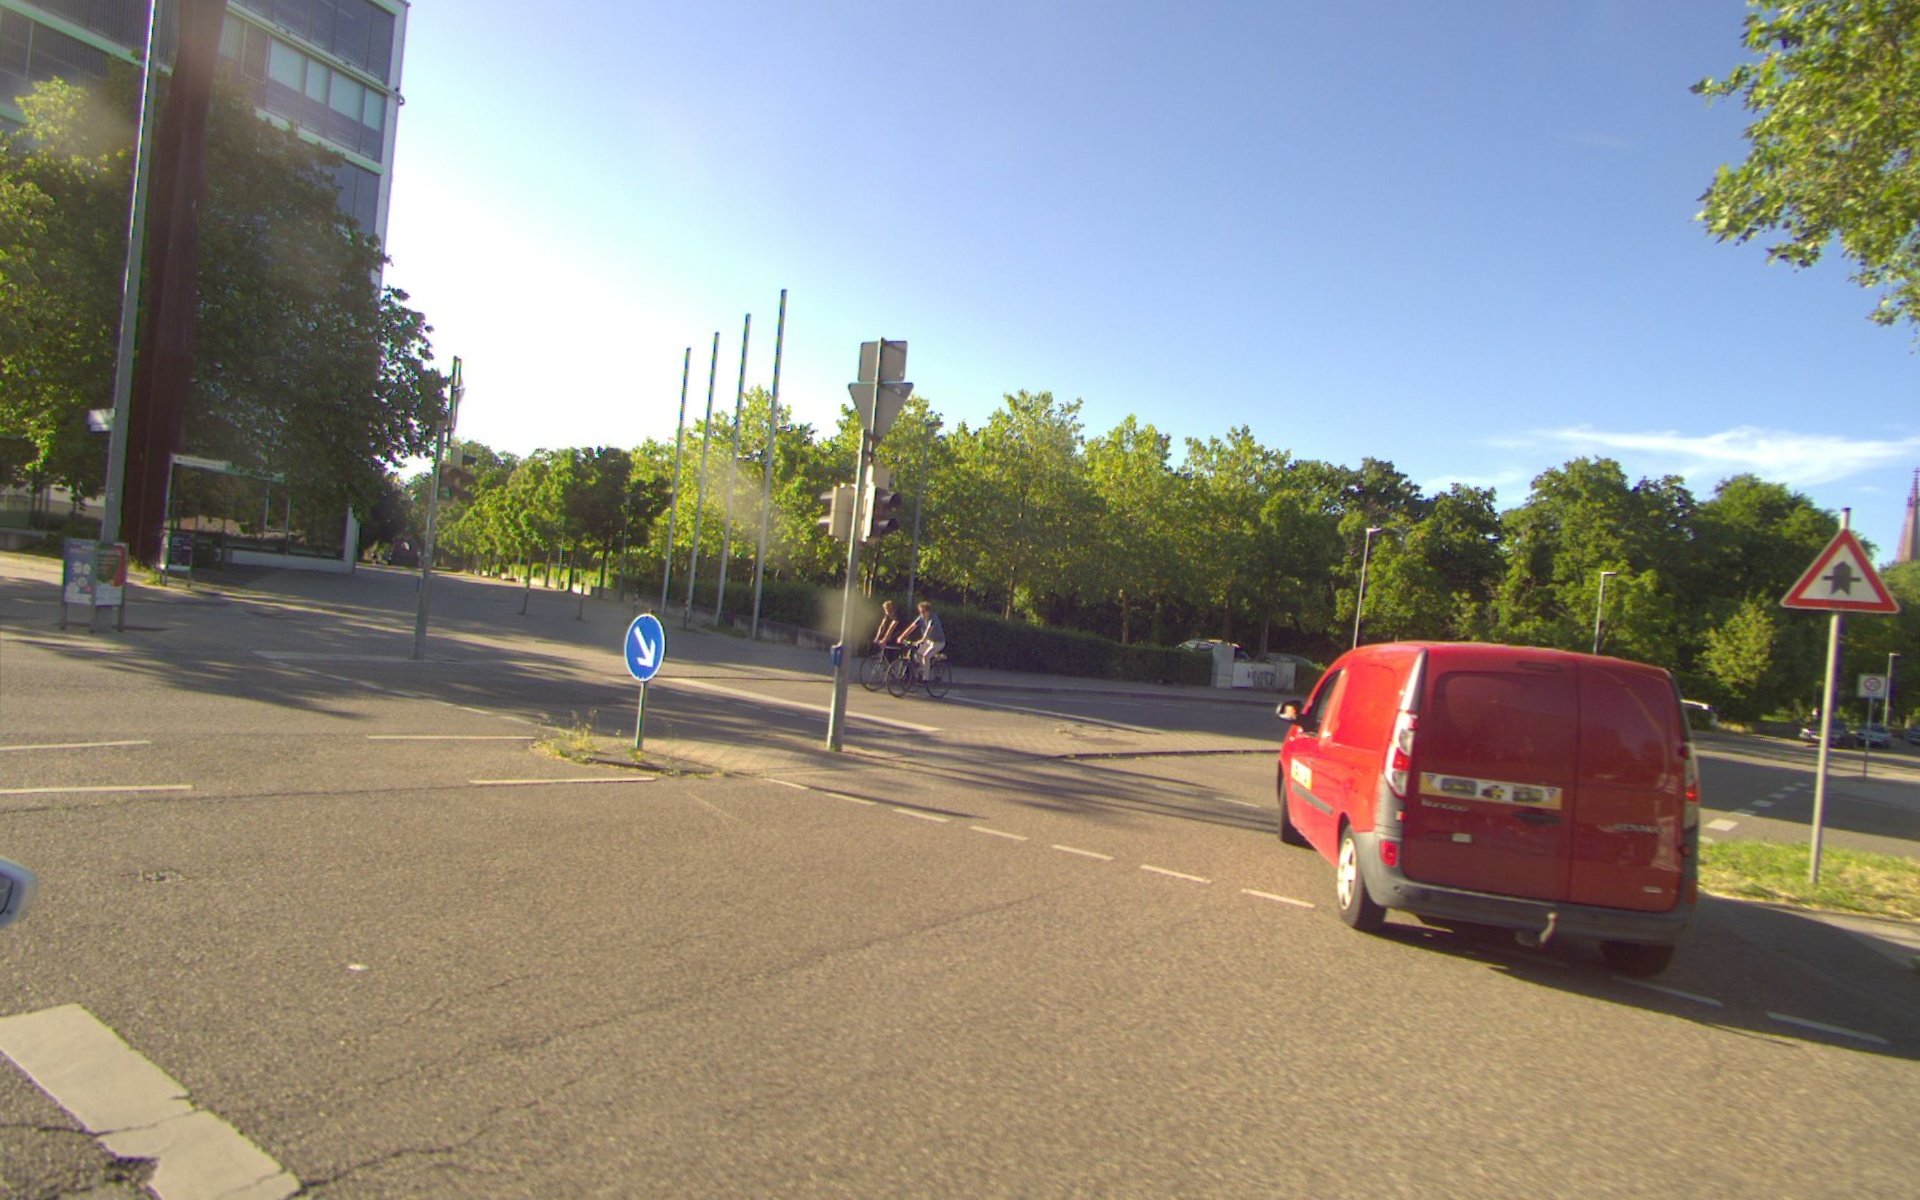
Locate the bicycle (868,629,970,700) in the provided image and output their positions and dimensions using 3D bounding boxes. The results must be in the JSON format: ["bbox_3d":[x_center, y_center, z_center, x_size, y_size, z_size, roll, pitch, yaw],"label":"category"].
[{"bbox_3d":[-0.750,1.252,19.153,0.543,1.218,2.093,7,0,42],"label":"bicycle"}]

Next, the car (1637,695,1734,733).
[{"bbox_3d":[41.367,6.488,57.421,1.983,1.482,3.981,8,-2,-35],"label":"car"}]

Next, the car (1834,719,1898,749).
[{"bbox_3d":[56.412,8.336,62.643,4.431,1.483,1.981,7,-1,-35],"label":"car"}]

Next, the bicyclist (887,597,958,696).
[{"bbox_3d":[-0.713,0.889,19.186,0.820,1.759,0.873,7,1,40],"label":"bicyclist"}]

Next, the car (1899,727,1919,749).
[{"bbox_3d":[73.332,10.640,76.496,3.964,1.482,1.982,8,-2,-35],"label":"car"}]

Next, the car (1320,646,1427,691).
[{"bbox_3d":[18.458,3.047,45.043,1.978,1.482,3.971,8,-2,-29],"label":"car"}]

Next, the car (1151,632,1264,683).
[{"bbox_3d":[9.710,2.239,39.770,1.980,1.482,3.967,8,-2,-32],"label":"car"}]

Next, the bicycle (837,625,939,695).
[{"bbox_3d":[-1.381,1.198,19.748,0.544,1.218,2.092,7,0,43],"label":"bicycle"}]

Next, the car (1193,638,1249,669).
[{"bbox_3d":[18.367,3.750,70.735,1.974,1.480,3.984,7,-4,45],"label":"car"}]

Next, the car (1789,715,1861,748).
[{"bbox_3d":[48.803,7.439,56.749,4.431,1.483,1.981,7,-1,-35],"label":"car"}]

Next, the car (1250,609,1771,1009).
[{"bbox_3d":[3.429,1.192,7.277,1.819,1.835,4.120,6,-3,8],"label":"car"}]

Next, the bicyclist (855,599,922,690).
[{"bbox_3d":[-1.400,0.876,19.717,0.782,1.674,0.873,7,1,40],"label":"bicyclist"}]
